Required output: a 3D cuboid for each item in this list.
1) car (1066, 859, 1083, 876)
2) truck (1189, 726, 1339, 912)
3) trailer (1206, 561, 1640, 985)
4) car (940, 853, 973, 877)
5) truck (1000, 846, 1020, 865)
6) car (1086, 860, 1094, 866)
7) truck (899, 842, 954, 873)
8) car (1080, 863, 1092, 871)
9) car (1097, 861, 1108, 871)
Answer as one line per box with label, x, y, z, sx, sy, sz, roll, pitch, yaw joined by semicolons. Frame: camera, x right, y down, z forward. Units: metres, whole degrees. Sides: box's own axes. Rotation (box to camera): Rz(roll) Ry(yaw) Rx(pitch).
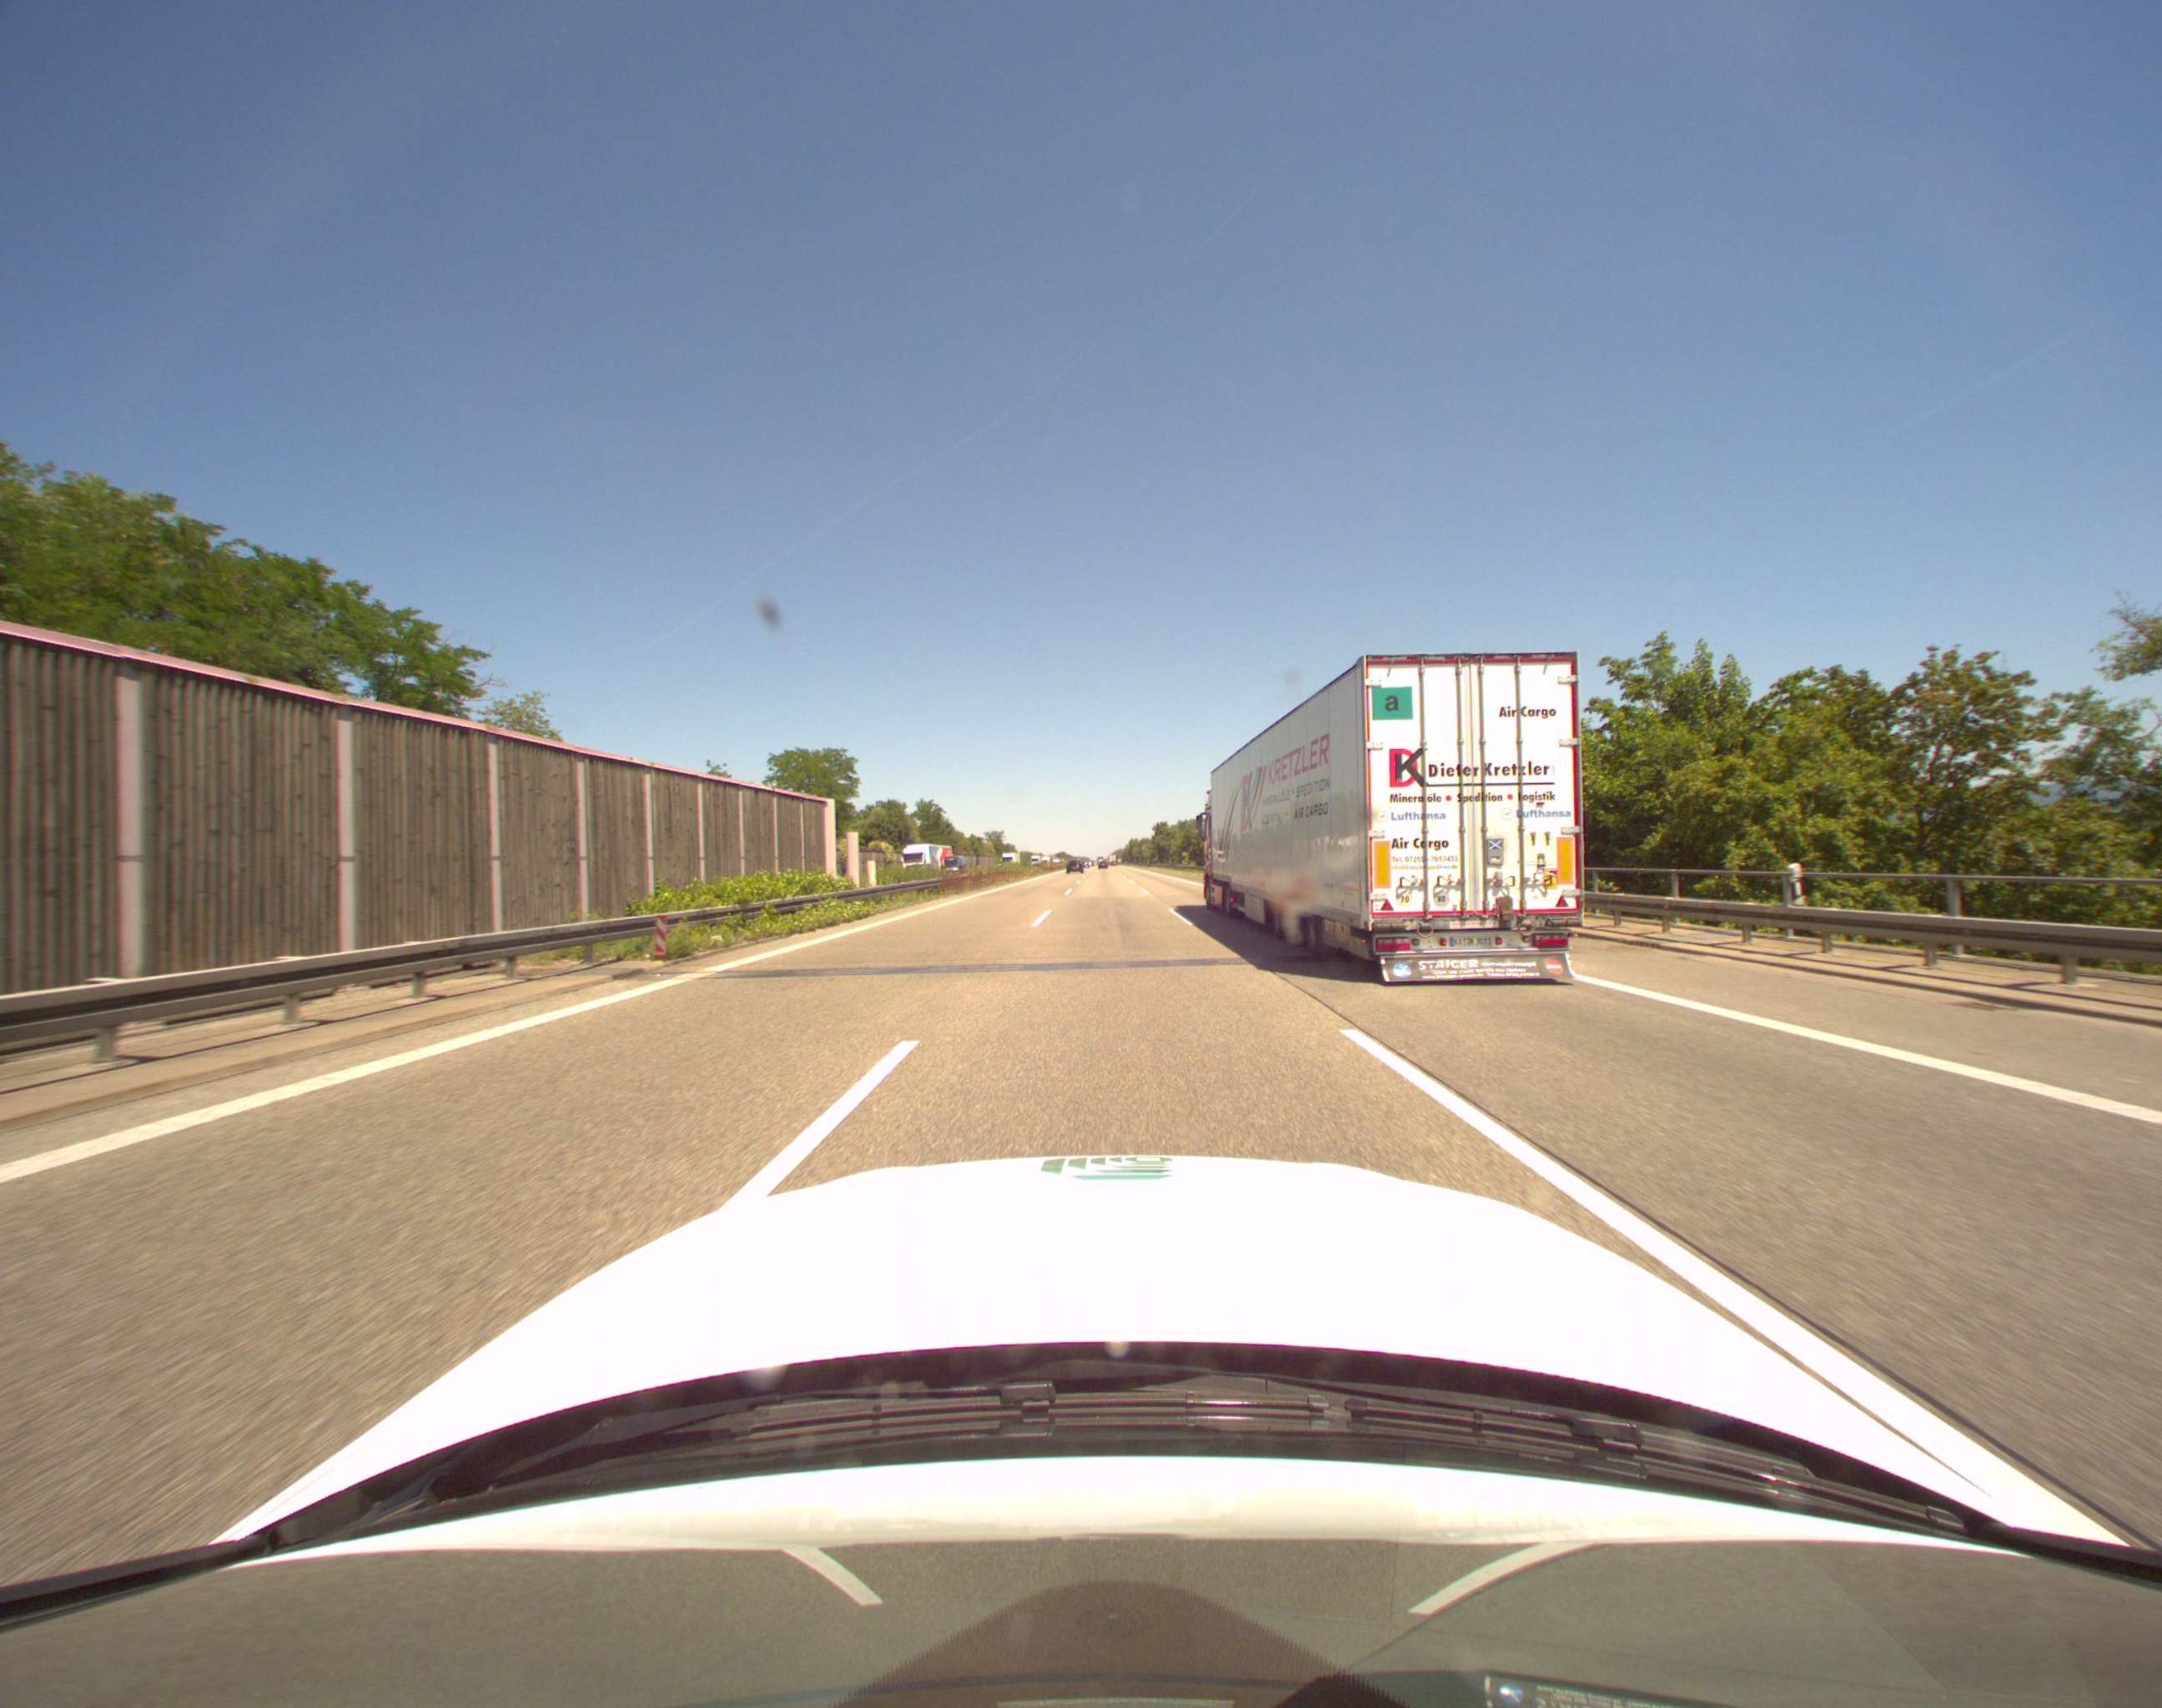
car;-0.766;1.571;96.494;1.874;1.792;4.000;-1;0;0
truck;5.285;-0.936;25.001;3.222;4.889;6.975;-1;0;2
trailer;4.997;-0.956;16.372;3.257;4.837;14.035;-1;0;2
car;-14.373;1.201;94.531;2.307;2.563;7.587;3;0;2
truck;-16.306;0.351;187.306;3.568;4.103;7.841;-2;0;2
car;2.401;2.475;226.781;2.121;1.645;4.305;-2;-1;2
truck;-18.328;0.364;98.049;2.827;3.342;17.012;-1;0;2
car;1.042;2.707;167.412;2.121;1.645;4.305;-2;-1;2
car;3.829;2.103;142.710;1.896;1.584;4.305;-2;-1;2
